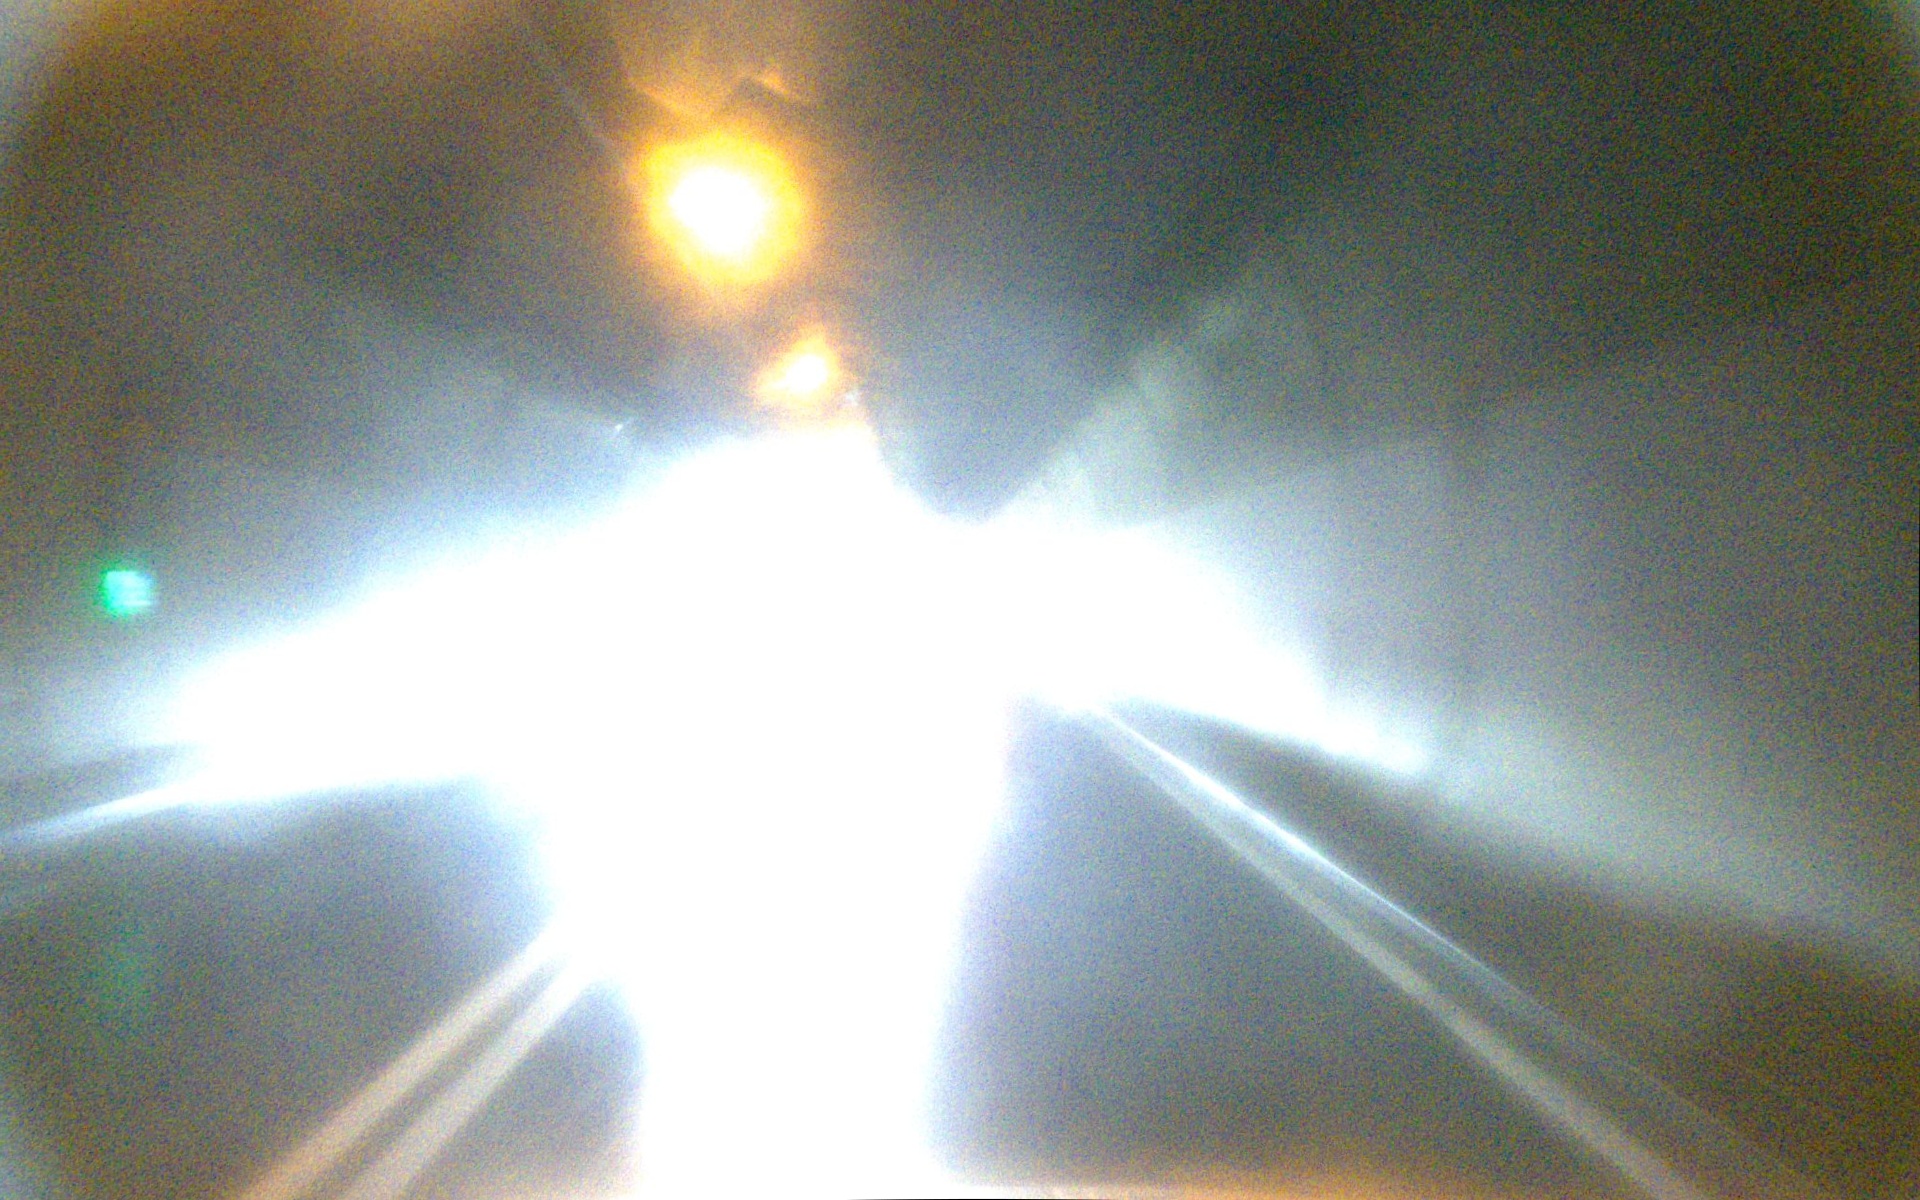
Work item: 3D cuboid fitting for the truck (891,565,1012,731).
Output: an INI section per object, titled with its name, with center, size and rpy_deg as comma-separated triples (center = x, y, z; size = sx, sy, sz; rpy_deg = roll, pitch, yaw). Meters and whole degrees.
[truck]
center = -0.218, 0.880, 34.528
size = 2.216, 3.063, 7.413
rpy_deg = -1, 0, -1

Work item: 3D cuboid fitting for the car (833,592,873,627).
[car]
center = -4.937, 0.437, 76.931
size = 1.627, 1.516, 3.962
rpy_deg = -2, 0, -1
